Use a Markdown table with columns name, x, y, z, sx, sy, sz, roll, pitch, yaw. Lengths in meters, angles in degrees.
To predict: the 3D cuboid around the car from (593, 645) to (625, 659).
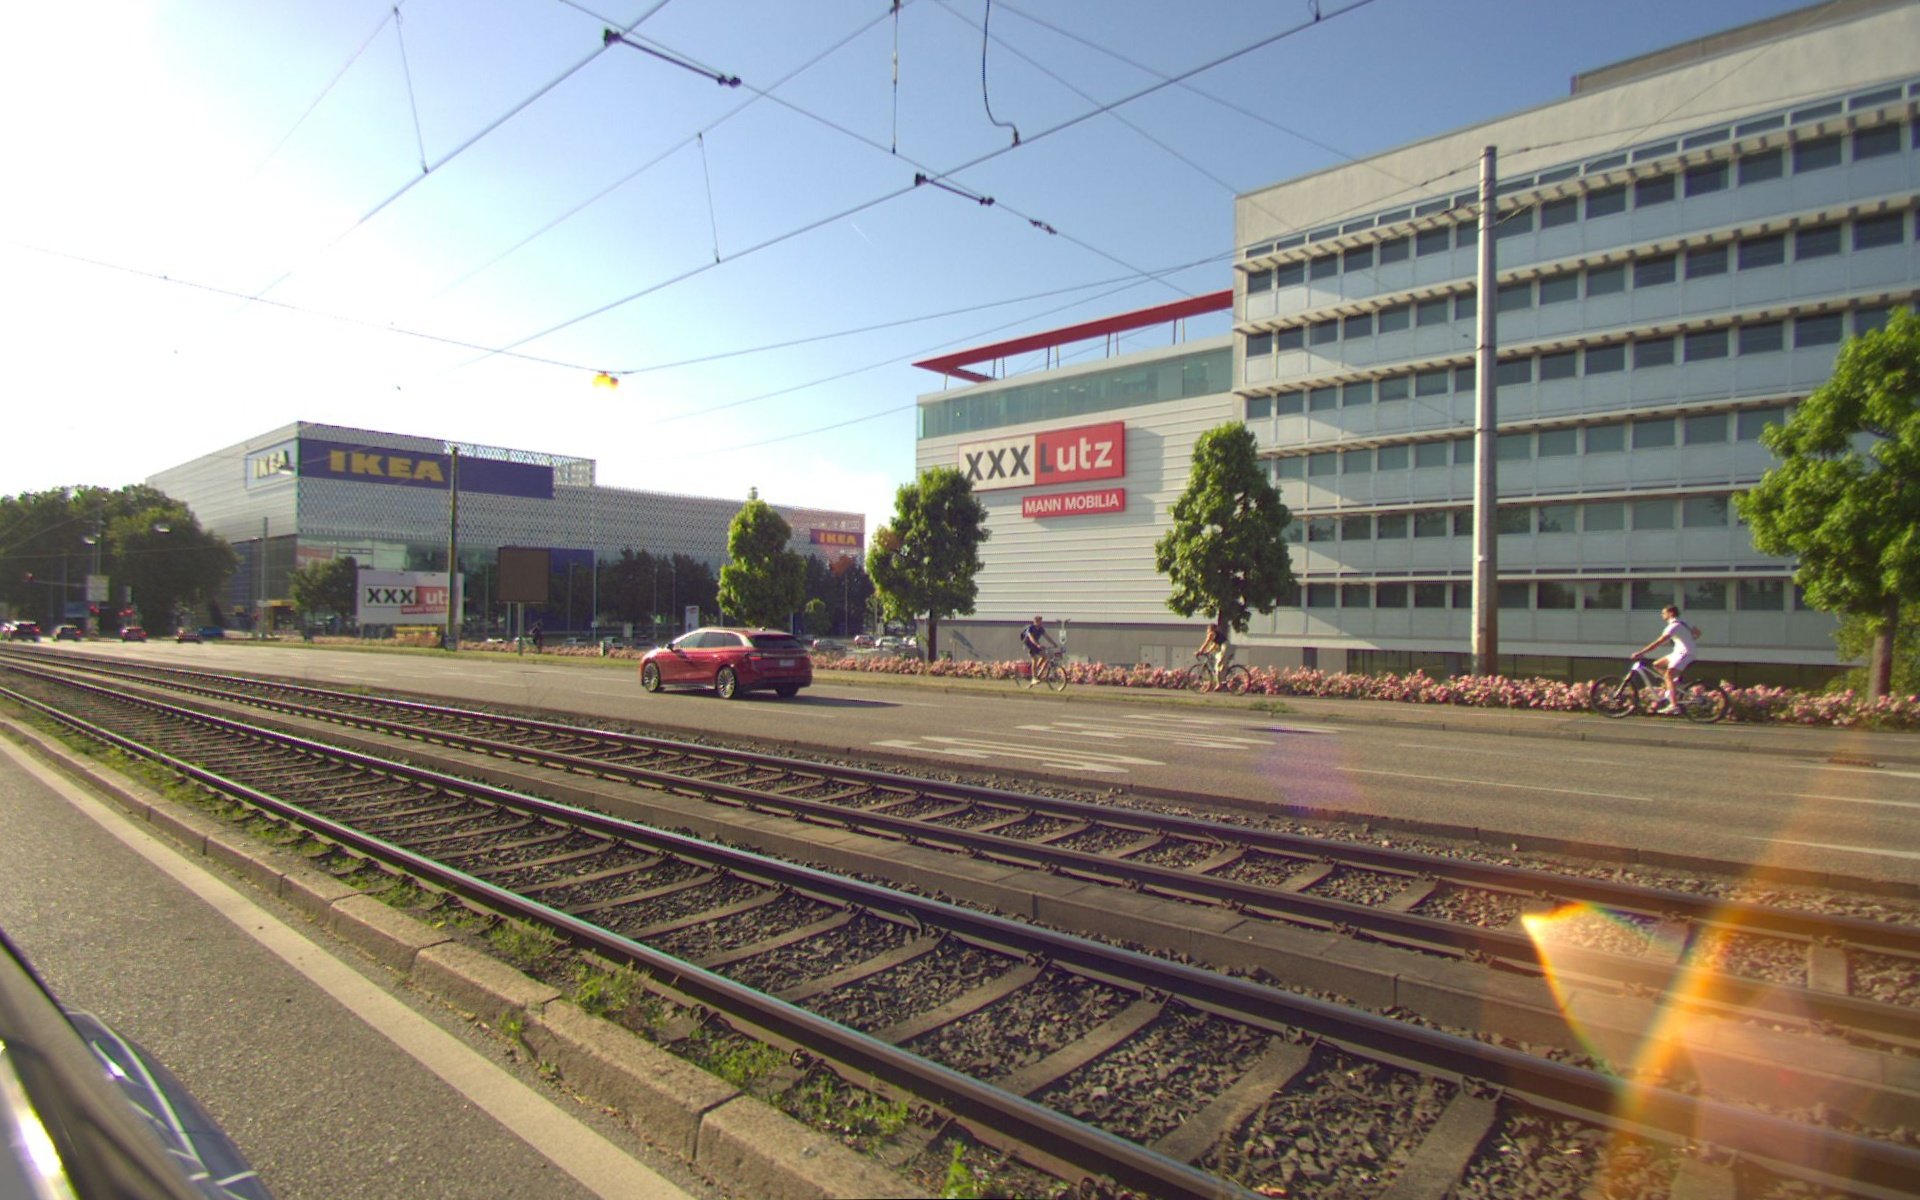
| name | x | y | z | sx | sy | sz | roll | pitch | yaw |
| --- | --- | --- | --- | --- | --- | --- | --- | --- | --- |
| car | -44.206 | 6.567 | 127.434 | 3.993 | 1.605 | 1.911 | -2 | 0 | 37 |

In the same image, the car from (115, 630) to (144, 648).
| name | x | y | z | sx | sy | sz | roll | pitch | yaw |
| --- | --- | --- | --- | --- | --- | --- | --- | --- | --- |
| car | -75.500 | 3.535 | 91.974 | 1.911 | 1.488 | 4.138 | 4 | -4 | -41 |

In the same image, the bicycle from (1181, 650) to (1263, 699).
| name | x | y | z | sx | sy | sz | roll | pitch | yaw |
| --- | --- | --- | --- | --- | --- | --- | --- | --- | --- |
| bicycle | 5.983 | 1.693 | 23.155 | 1.702 | 1.067 | 0.618 | -2 | -3 | 41 |

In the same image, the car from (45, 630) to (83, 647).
| name | x | y | z | sx | sy | sz | roll | pitch | yaw |
| --- | --- | --- | --- | --- | --- | --- | --- | --- | --- |
| car | -79.669 | 3.444 | 89.979 | 4.133 | 1.472 | 1.838 | -2 | -2 | 39 |

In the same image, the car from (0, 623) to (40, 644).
| name | x | y | z | sx | sy | sz | roll | pitch | yaw |
| --- | --- | --- | --- | --- | --- | --- | --- | --- | --- |
| car | -77.086 | 2.751 | 82.928 | 4.657 | 1.668 | 1.972 | -2 | -4 | 42 |

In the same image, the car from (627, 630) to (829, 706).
| name | x | y | z | sx | sy | sz | roll | pitch | yaw |
| --- | --- | --- | --- | --- | --- | --- | --- | --- | --- |
| car | -5.382 | 1.468 | 23.141 | 4.885 | 1.514 | 2.018 | -1 | -2 | 41 |

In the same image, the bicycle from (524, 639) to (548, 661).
| name | x | y | z | sx | sy | sz | roll | pitch | yaw |
| --- | --- | --- | --- | --- | --- | --- | --- | --- | --- |
| bicycle | -23.762 | 2.814 | 56.642 | 0.653 | 1.159 | 2.025 | -2 | 0 | -40 |

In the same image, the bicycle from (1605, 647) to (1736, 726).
| name | x | y | z | sx | sy | sz | roll | pitch | yaw |
| --- | --- | --- | --- | --- | --- | --- | --- | --- | --- |
| bicycle | 11.861 | 1.419 | 16.932 | 1.745 | 1.228 | 0.597 | -2 | 0 | 37 |

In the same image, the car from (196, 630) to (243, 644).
| name | x | y | z | sx | sy | sz | roll | pitch | yaw |
| --- | --- | --- | --- | --- | --- | --- | --- | --- | --- |
| car | -89.183 | 4.410 | 121.924 | 4.194 | 1.509 | 2.017 | 5 | -4 | -44 |

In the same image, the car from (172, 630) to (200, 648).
| name | x | y | z | sx | sy | sz | roll | pitch | yaw |
| --- | --- | --- | --- | --- | --- | --- | --- | --- | --- |
| car | -72.302 | 3.632 | 94.572 | 1.796 | 1.655 | 4.010 | 3 | -4 | -35 |

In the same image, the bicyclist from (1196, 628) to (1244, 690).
| name | x | y | z | sx | sy | sz | roll | pitch | yaw |
| --- | --- | --- | --- | --- | --- | --- | --- | --- | --- |
| bicyclist | 5.952 | 1.343 | 23.197 | 0.879 | 1.384 | 0.618 | -2 | -3 | 41 |

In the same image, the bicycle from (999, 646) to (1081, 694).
| name | x | y | z | sx | sy | sz | roll | pitch | yaw |
| --- | --- | --- | --- | --- | --- | --- | --- | --- | --- |
| bicycle | 1.932 | 1.680 | 24.639 | 0.696 | 1.081 | 2.029 | -2 | 0 | -42 |

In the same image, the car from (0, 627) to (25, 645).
| name | x | y | z | sx | sy | sz | roll | pitch | yaw |
| --- | --- | --- | --- | --- | --- | --- | --- | --- | --- |
| car | -82.454 | 3.122 | 87.584 | 4.106 | 1.459 | 1.764 | -2 | -4 | 42 |

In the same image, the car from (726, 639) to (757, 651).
| name | x | y | z | sx | sy | sz | roll | pitch | yaw |
| --- | --- | --- | --- | --- | --- | --- | --- | --- | --- |
| car | -30.353 | 6.267 | 140.456 | 4.431 | 1.563 | 1.652 | -2 | 0 | 37 |

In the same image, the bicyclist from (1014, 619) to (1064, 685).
| name | x | y | z | sx | sy | sz | roll | pitch | yaw |
| --- | --- | --- | --- | --- | --- | --- | --- | --- | --- |
| bicyclist | 1.916 | 1.252 | 24.650 | 0.696 | 1.524 | 0.971 | -2 | 0 | -43 |

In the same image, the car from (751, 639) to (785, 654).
| name | x | y | z | sx | sy | sz | roll | pitch | yaw |
| --- | --- | --- | --- | --- | --- | --- | --- | --- | --- |
| car | -25.654 | 6.222 | 135.011 | 4.156 | 1.813 | 1.832 | -2 | 0 | -22 |

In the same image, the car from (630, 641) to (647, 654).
| name | x | y | z | sx | sy | sz | roll | pitch | yaw |
| --- | --- | --- | --- | --- | --- | --- | --- | --- | --- |
| car | -46.701 | 6.885 | 147.009 | 1.876 | 1.580 | 4.262 | -2 | 0 | -25 |

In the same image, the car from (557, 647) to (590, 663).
| name | x | y | z | sx | sy | sz | roll | pitch | yaw |
| --- | --- | --- | --- | --- | --- | --- | --- | --- | --- |
| car | -47.196 | 6.662 | 123.458 | 3.993 | 1.758 | 1.911 | -2 | 0 | 37 |

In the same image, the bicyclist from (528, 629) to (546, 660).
| name | x | y | z | sx | sy | sz | roll | pitch | yaw |
| --- | --- | --- | --- | --- | --- | --- | --- | --- | --- |
| bicyclist | -23.593 | 2.472 | 56.427 | 0.653 | 1.635 | 0.802 | -2 | 0 | -40 |

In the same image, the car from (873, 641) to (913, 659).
| name | x | y | z | sx | sy | sz | roll | pitch | yaw |
| --- | --- | --- | --- | --- | --- | --- | --- | --- | --- |
| car | -7.056 | 5.289 | 107.167 | 3.997 | 1.715 | 1.902 | -2 | 0 | 40 |

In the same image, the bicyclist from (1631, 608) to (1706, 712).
| name | x | y | z | sx | sy | sz | roll | pitch | yaw |
| --- | --- | --- | --- | --- | --- | --- | --- | --- | --- |
| bicyclist | 11.842 | 0.990 | 16.924 | 0.961 | 1.671 | 0.597 | -2 | 0 | 37 |
